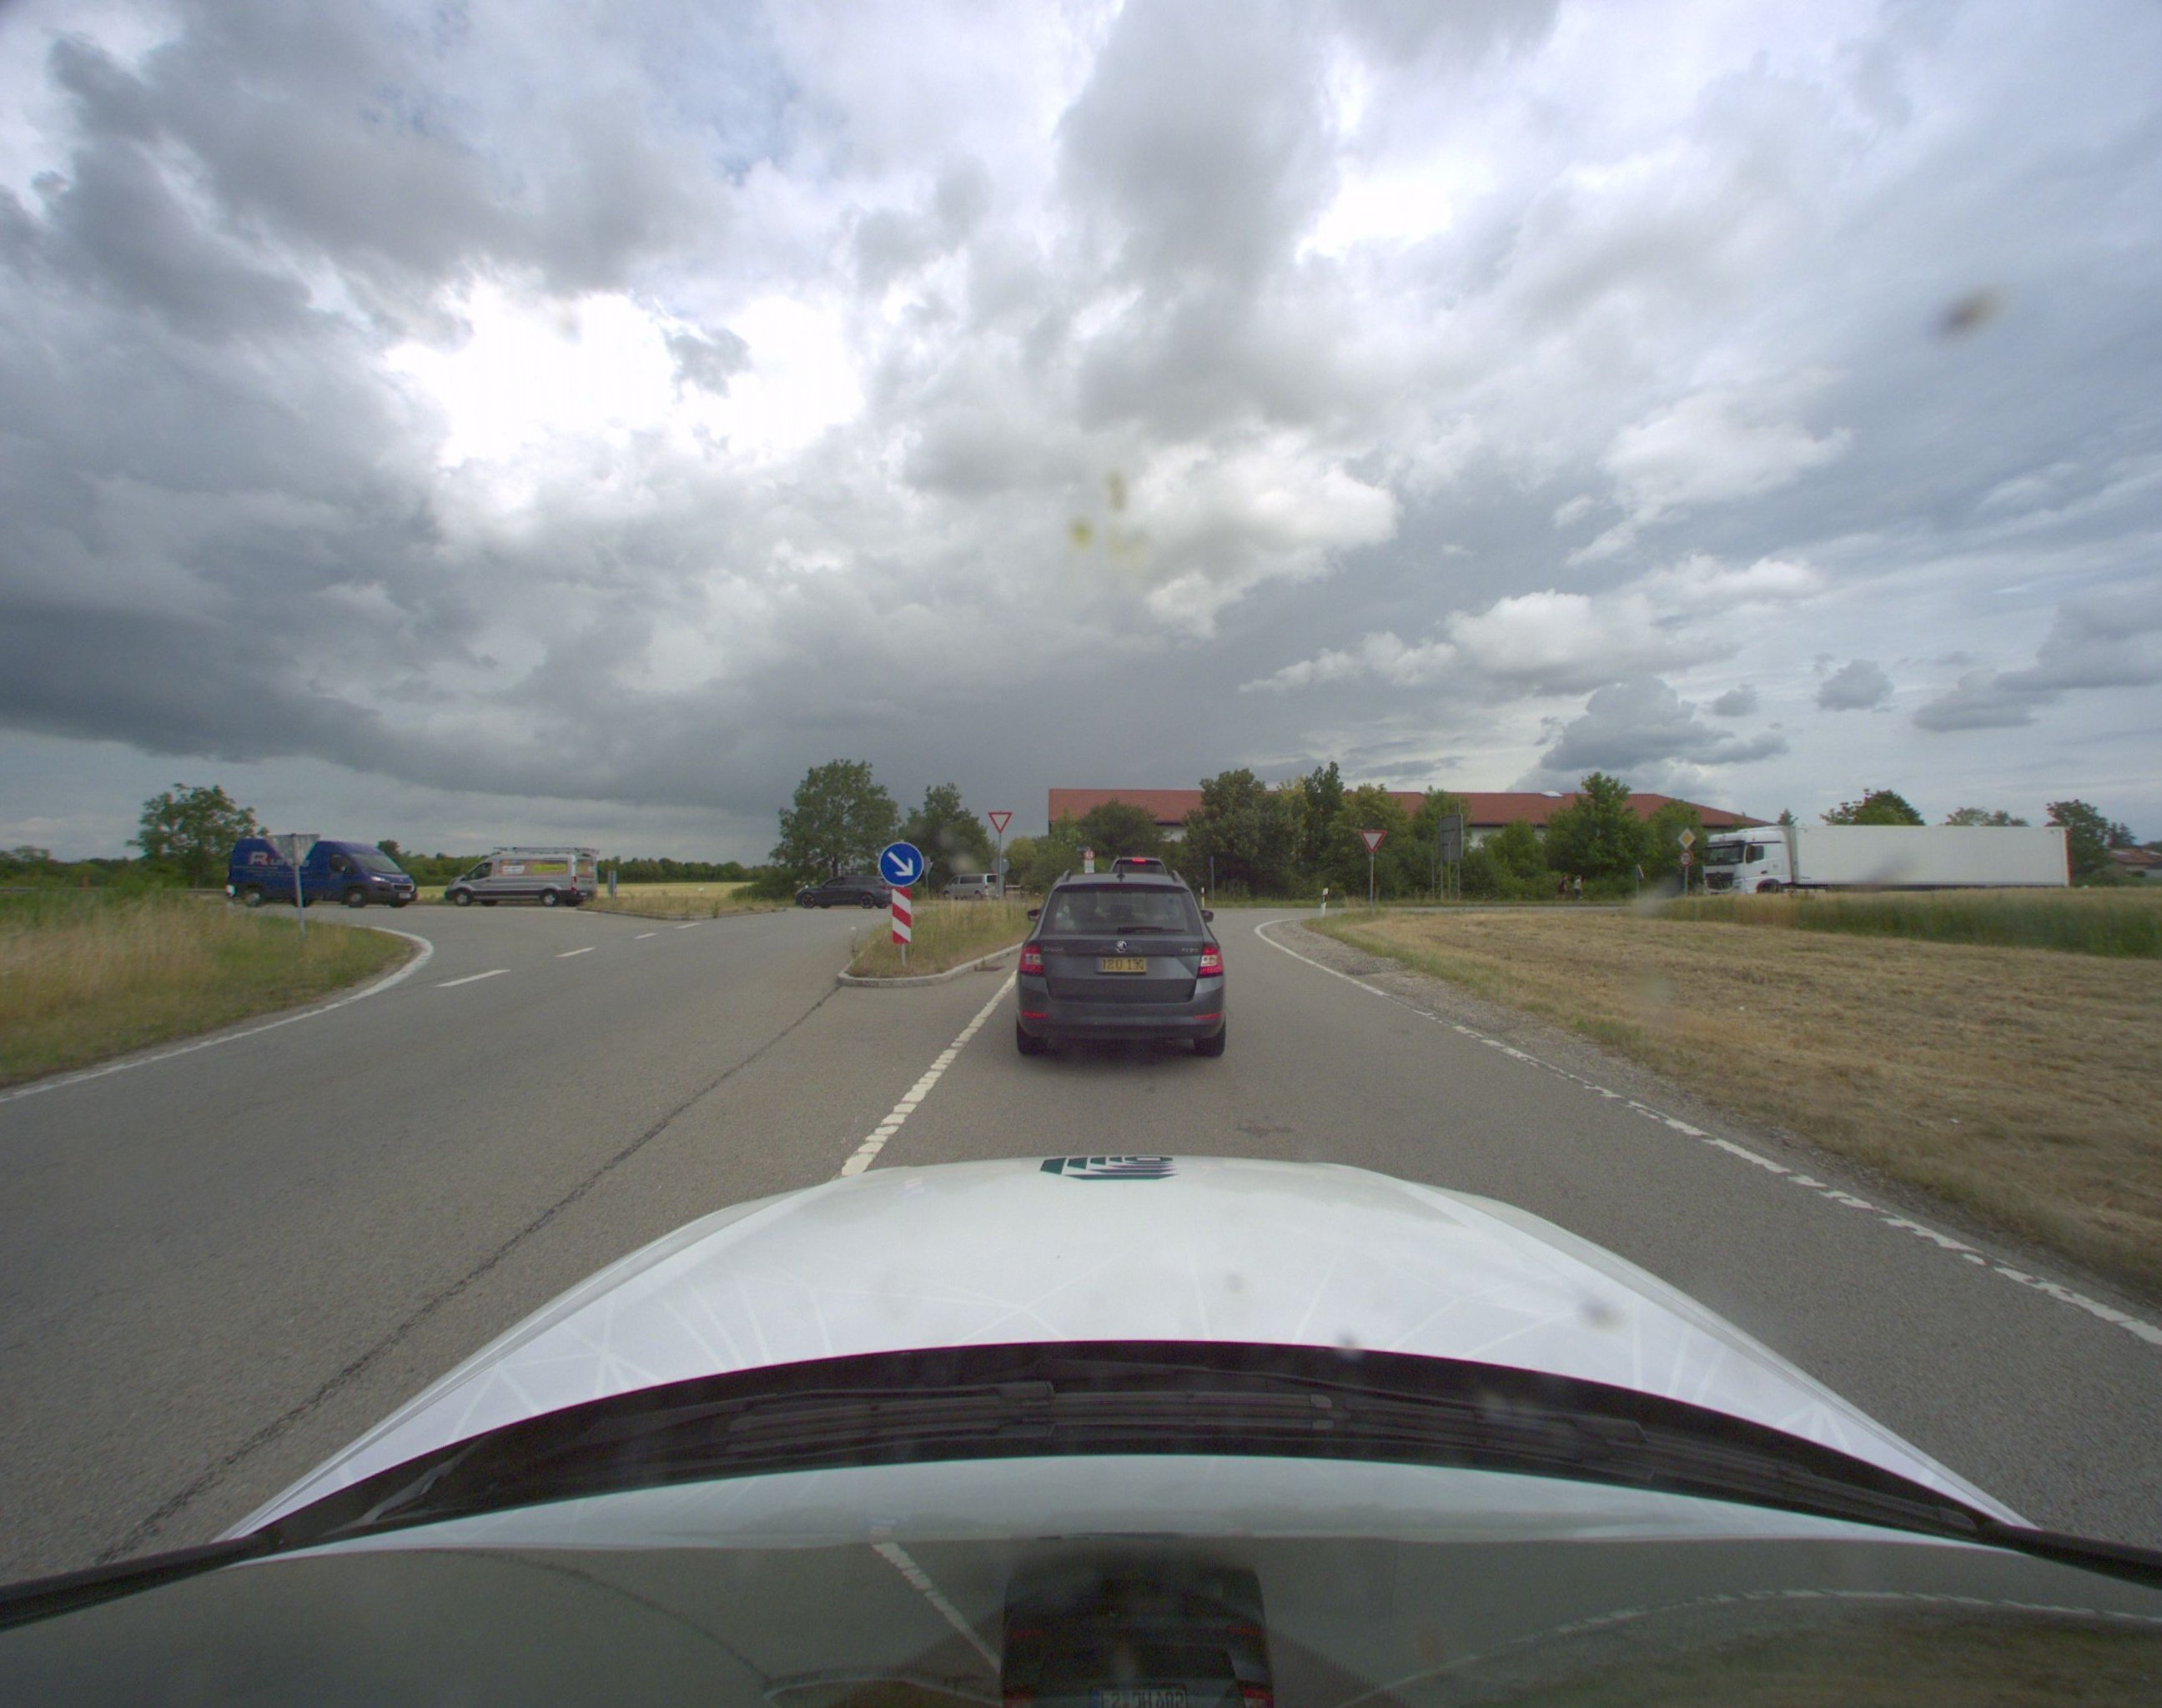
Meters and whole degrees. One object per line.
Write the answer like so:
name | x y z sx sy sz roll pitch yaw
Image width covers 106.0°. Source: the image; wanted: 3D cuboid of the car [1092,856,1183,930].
car | 1.413 1.023 22.040 1.988 1.775 4.639 0 -2 -2

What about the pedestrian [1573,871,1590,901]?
pedestrian | 28.384 1.829 46.197 0.625 1.682 0.529 -1 -1 -7

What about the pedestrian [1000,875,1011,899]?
pedestrian | -5.723 2.485 61.411 0.523 1.726 0.645 -1 -1 36

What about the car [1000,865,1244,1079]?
car | 0.342 0.838 7.468 1.670 1.463 3.709 -1 -1 2

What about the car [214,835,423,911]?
car | -27.993 0.679 30.059 5.537 2.639 2.148 -1 -1 -2

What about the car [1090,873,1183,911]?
car | 2.569 1.767 38.538 4.197 1.601 1.999 -1 -1 -1

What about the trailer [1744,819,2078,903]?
trailer | 41.312 0.412 40.815 13.805 4.015 3.125 0 -3 -2

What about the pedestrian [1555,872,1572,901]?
pedestrian | 28.133 1.876 47.489 0.625 1.682 0.529 -1 -1 -7

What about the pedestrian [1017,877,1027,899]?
pedestrian | -4.648 2.689 64.558 0.578 1.682 0.569 -1 -1 24

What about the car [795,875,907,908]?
car | -9.872 1.614 35.106 4.318 1.345 1.685 -1 -1 7

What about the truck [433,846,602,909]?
truck | -25.542 1.021 37.116 6.017 2.703 2.062 -1 -1 -6

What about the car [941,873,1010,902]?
car | -8.039 2.508 61.909 4.851 2.014 2.357 -1 -1 37

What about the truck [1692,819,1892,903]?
truck | 35.214 0.424 40.543 7.264 4.015 3.126 0 -3 -2
